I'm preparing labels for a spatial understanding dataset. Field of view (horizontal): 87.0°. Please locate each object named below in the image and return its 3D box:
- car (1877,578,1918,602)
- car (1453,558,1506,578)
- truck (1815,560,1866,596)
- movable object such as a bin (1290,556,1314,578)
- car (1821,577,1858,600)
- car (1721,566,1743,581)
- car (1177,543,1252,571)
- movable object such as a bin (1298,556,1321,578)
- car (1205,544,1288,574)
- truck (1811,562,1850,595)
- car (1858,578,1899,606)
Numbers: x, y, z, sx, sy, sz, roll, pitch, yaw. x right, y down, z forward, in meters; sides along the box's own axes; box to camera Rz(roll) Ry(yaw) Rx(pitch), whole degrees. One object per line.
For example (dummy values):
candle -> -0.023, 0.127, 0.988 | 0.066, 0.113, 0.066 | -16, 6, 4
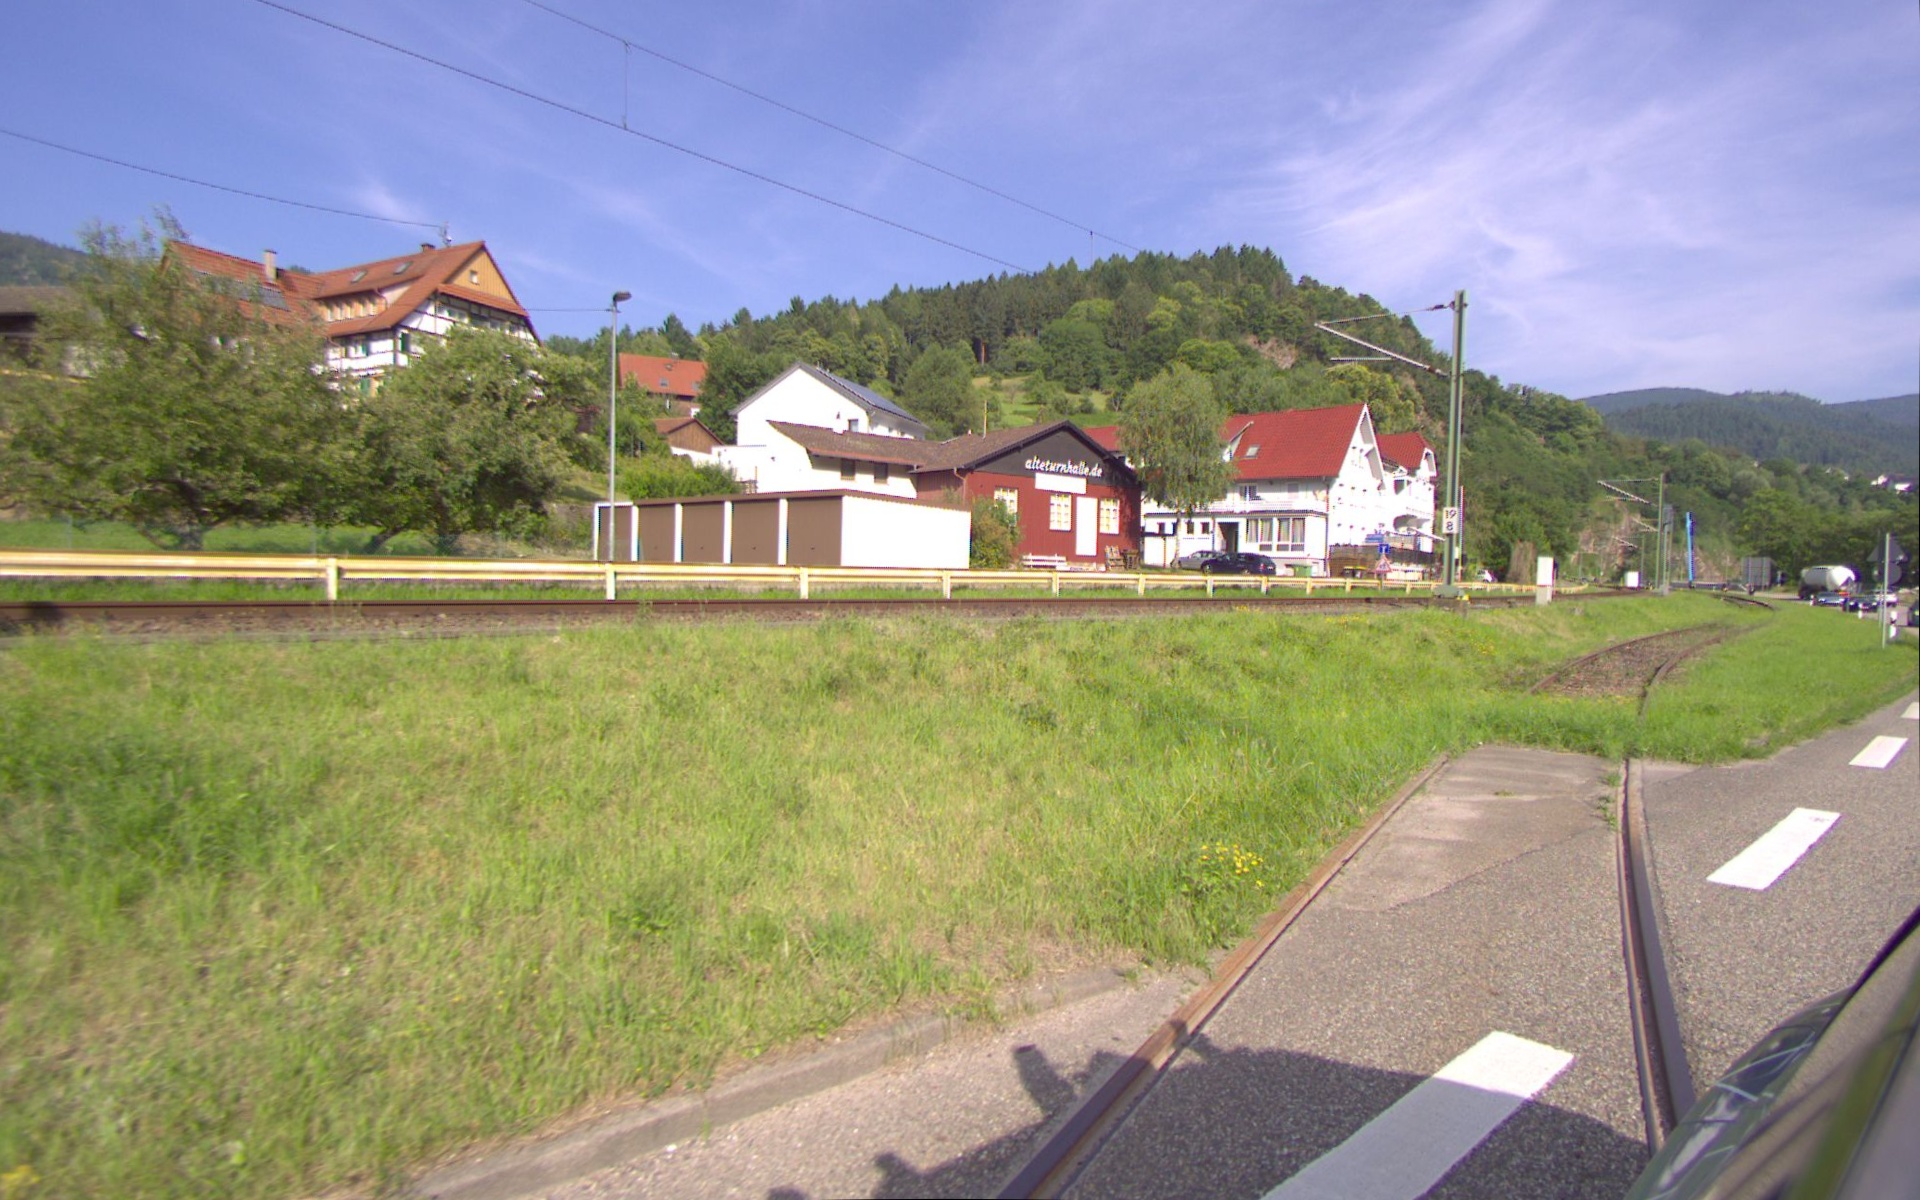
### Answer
car -> 86.544, -0.959, 93.462 | 1.987, 2.038, 3.953 | 5, 3, 33
car -> 46.781, -2.924, 91.147 | 3.976, 1.548, 1.975 | 5, 2, 35
truck -> 101.760, -2.511, 117.180 | 2.741, 3.883, 14.381 | 1, 1, 34
movable object such as a bin -> 16.759, -1.608, 49.600 | 0.807, 1.063, 0.897 | 0, 0, 43
car -> 84.539, -1.083, 97.318 | 1.986, 2.038, 3.953 | 5, 3, 33
car -> 113.972, -3.873, 149.493 | 1.985, 2.038, 3.957 | 5, 3, 31
car -> 15.295, -2.589, 60.942 | 3.990, 1.392, 1.796 | 7, 5, 44
movable object such as a bin -> 17.353, -1.613, 50.278 | 0.807, 1.063, 0.897 | 0, 0, 43
car -> 15.933, -2.318, 56.404 | 1.795, 1.392, 3.993 | 0, 4, -44
truck -> 105.763, -2.646, 123.075 | 2.741, 3.883, 8.095 | 1, 1, 35
car -> 73.596, -0.639, 81.126 | 1.991, 2.038, 3.945 | 5, 4, 38
